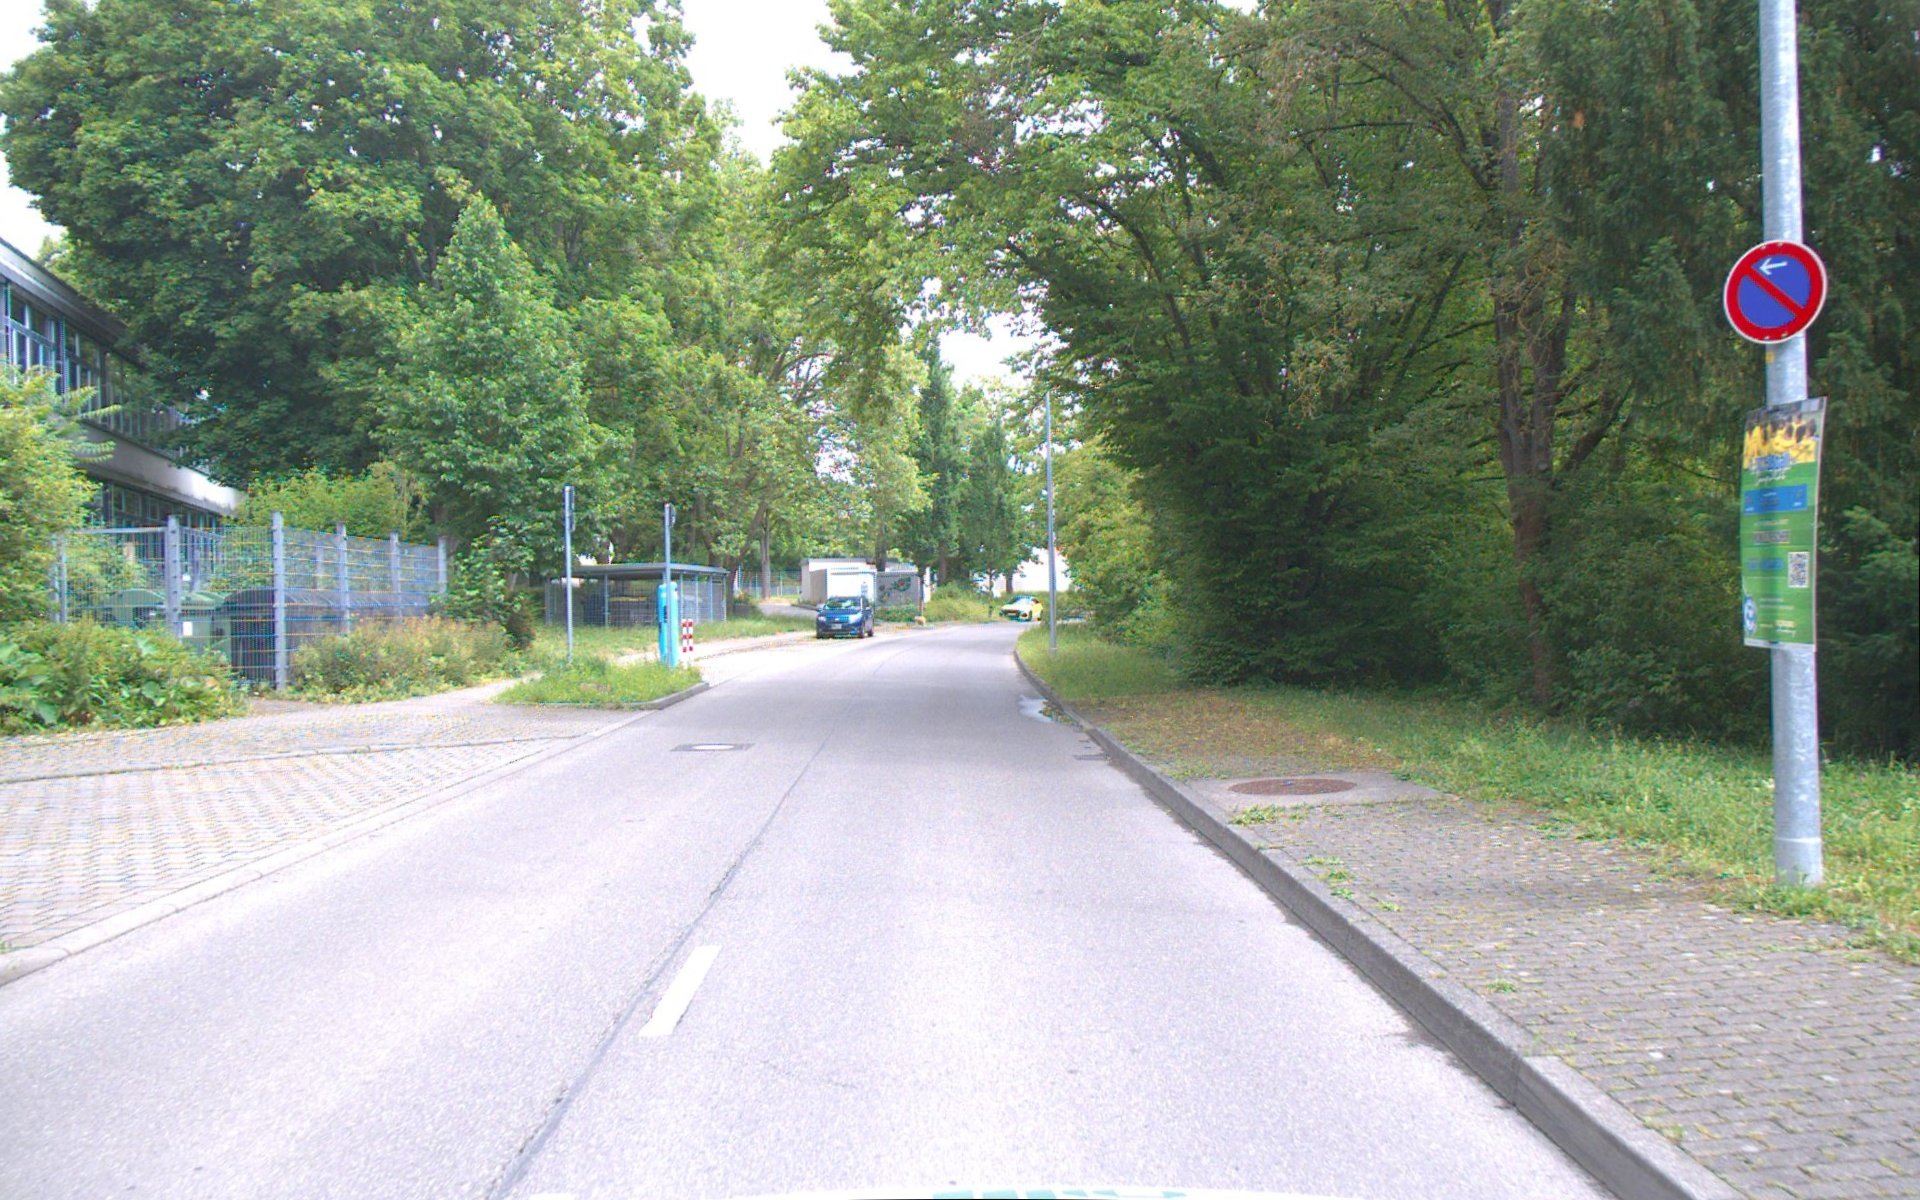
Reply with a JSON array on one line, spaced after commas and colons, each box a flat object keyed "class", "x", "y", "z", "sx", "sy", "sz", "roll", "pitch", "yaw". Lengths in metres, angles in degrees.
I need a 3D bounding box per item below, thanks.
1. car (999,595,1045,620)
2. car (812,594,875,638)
[{"class": "car", "x": 3.664, "y": 0.441, "z": 97.436, "sx": 1.664, "sy": 1.427, "sz": 4.275, "roll": 0, "pitch": -1, "yaw": 17}, {"class": "car", "x": -4.174, "y": 0.569, "z": 59.885, "sx": 1.644, "sy": 1.538, "sz": 4.433, "roll": 0, "pitch": 0, "yaw": 4}]
